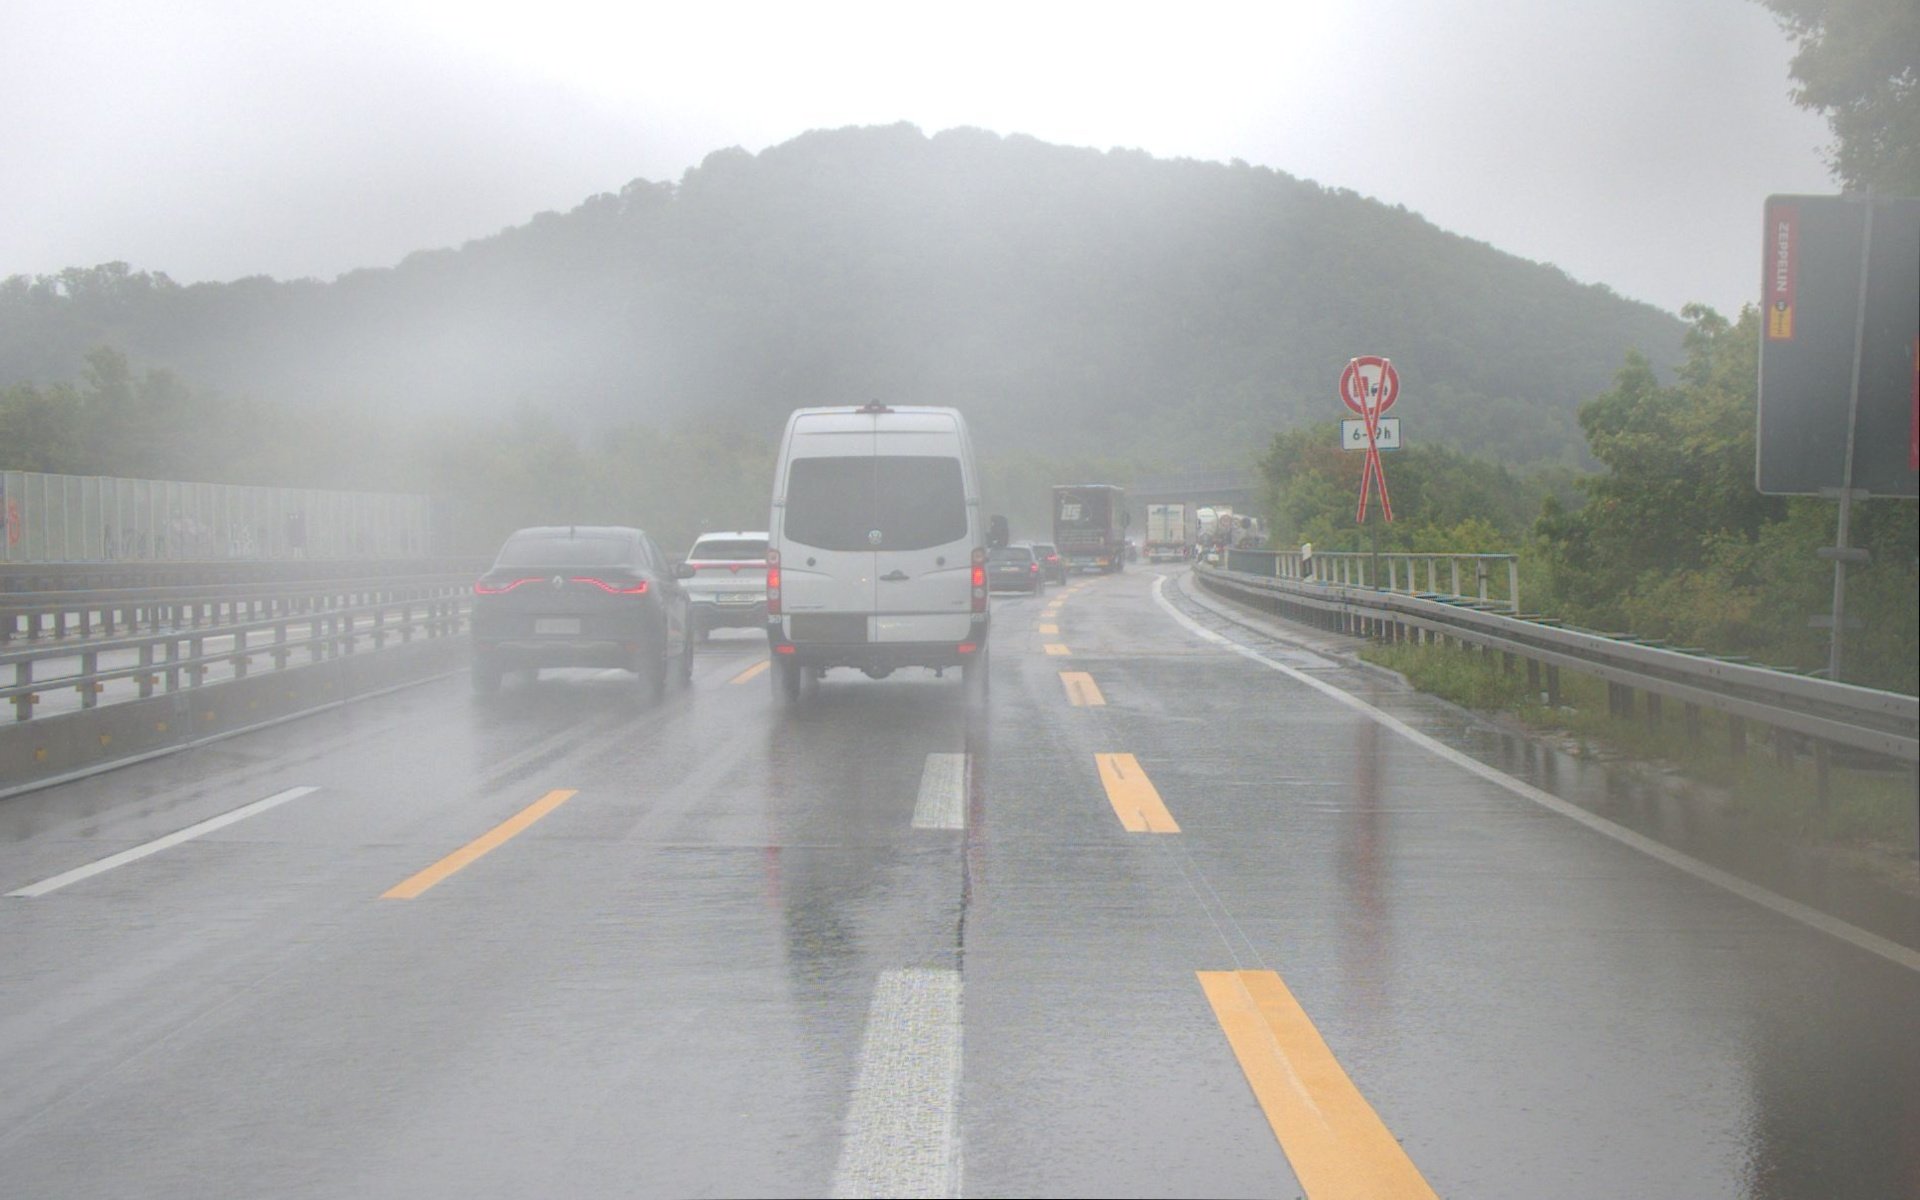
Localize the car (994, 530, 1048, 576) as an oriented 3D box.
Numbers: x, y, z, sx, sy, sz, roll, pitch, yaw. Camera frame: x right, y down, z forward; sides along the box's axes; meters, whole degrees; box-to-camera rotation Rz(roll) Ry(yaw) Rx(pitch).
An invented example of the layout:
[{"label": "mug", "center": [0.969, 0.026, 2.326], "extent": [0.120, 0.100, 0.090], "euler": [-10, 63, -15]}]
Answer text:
[{"label": "car", "center": [2.058, -1.581, 115.961], "extent": [1.774, 1.470, 4.000], "euler": [1, 1, 1]}]

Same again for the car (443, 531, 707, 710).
[{"label": "car", "center": [-3.645, 0.167, 33.327], "extent": [1.993, 1.579, 4.413], "euler": [1, 1, 1]}]

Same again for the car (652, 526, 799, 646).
[{"label": "car", "center": [-3.353, -0.217, 49.925], "extent": [1.993, 1.612, 4.797], "euler": [1, 1, -3]}]

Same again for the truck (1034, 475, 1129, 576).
[{"label": "truck", "center": [5.611, -3.339, 156.838], "extent": [3.582, 4.391, 9.622], "euler": [1, 1, 6]}]

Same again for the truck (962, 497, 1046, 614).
[{"label": "truck", "center": [1.290, -1.225, 96.617], "extent": [1.994, 3.098, 8.498], "euler": [1, 1, 3]}]

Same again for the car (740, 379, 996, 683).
[{"label": "car", "center": [-0.780, -0.618, 32.152], "extent": [2.145, 2.562, 5.390], "euler": [1, 1, 0]}]

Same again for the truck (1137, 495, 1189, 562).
[{"label": "truck", "center": [13.760, -4.778, 232.457], "extent": [3.037, 4.391, 9.622], "euler": [1, 1, 6]}]
